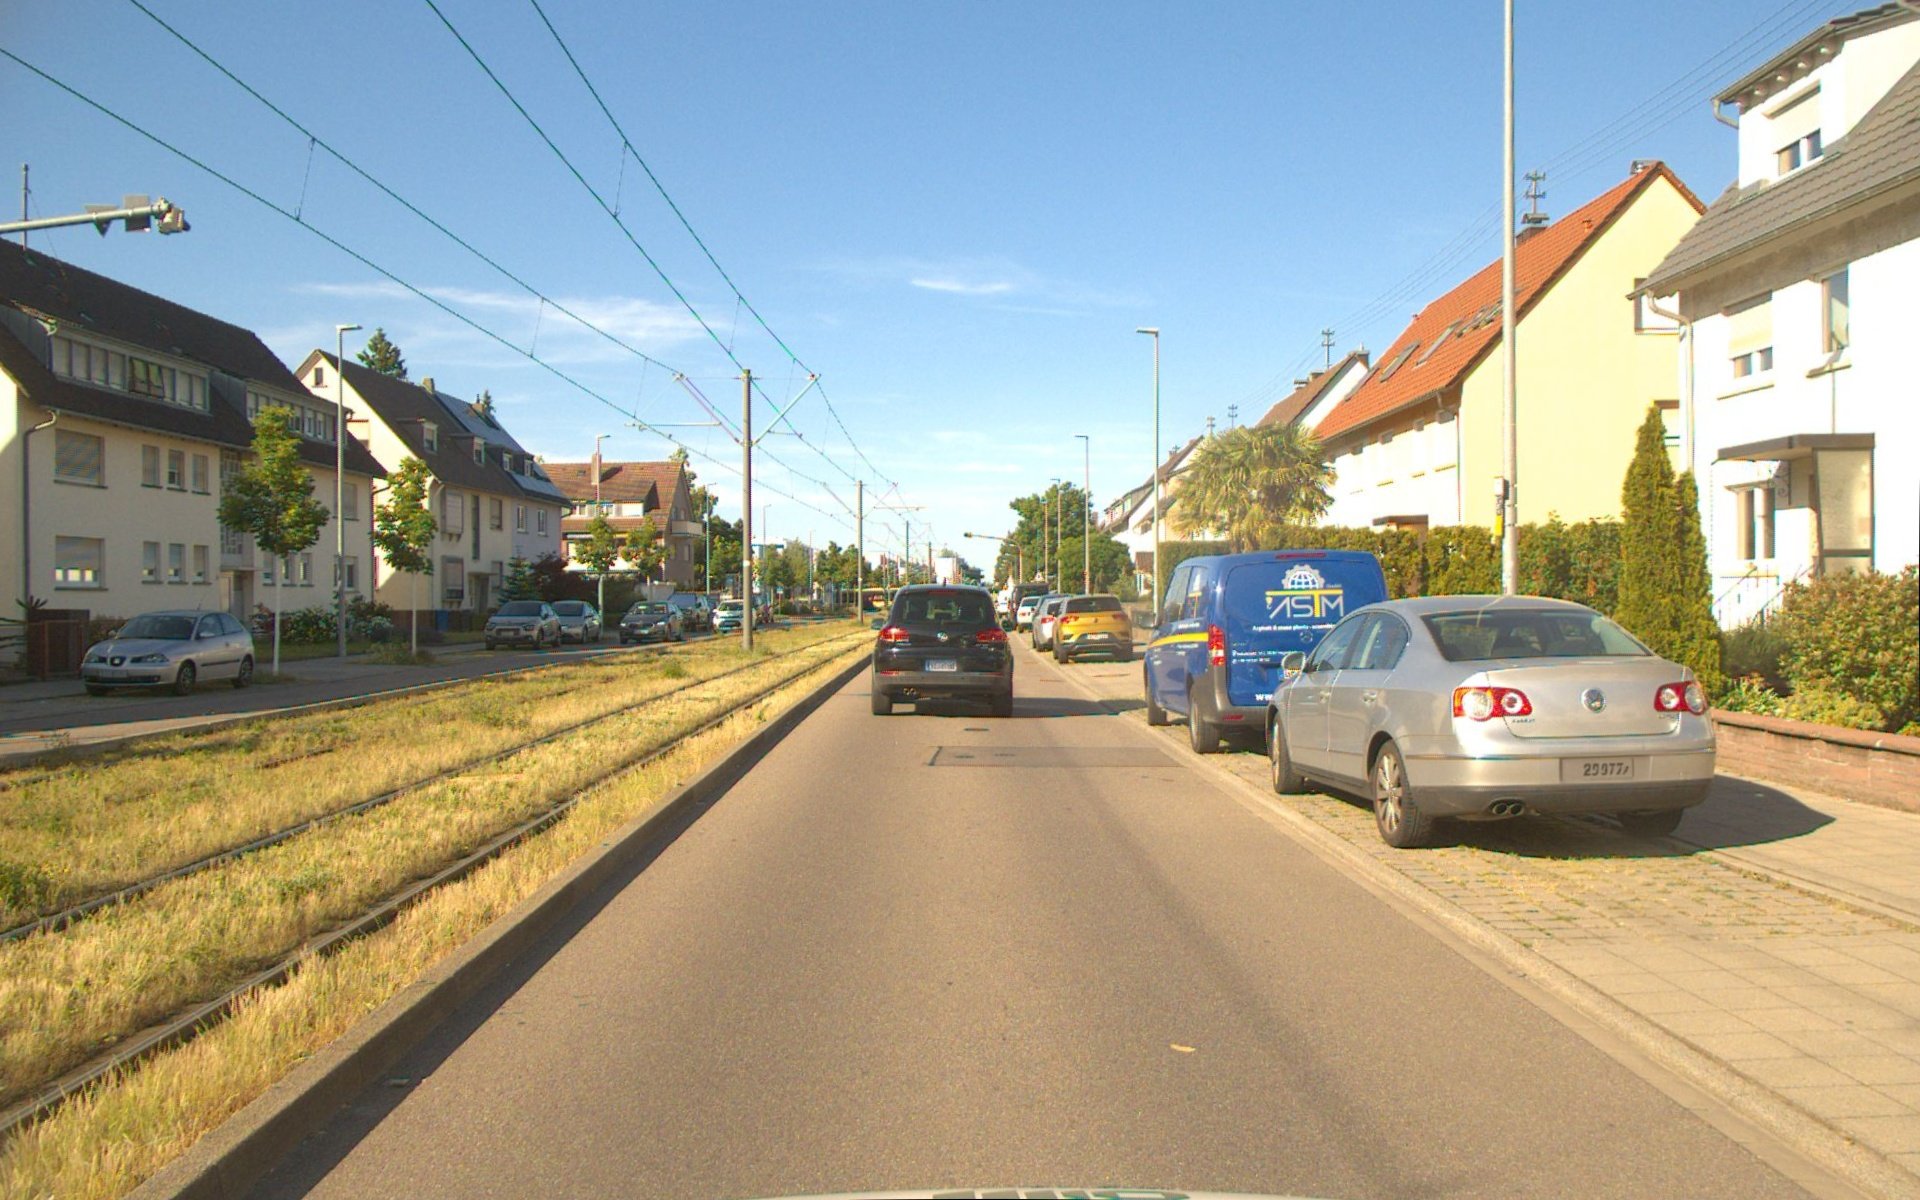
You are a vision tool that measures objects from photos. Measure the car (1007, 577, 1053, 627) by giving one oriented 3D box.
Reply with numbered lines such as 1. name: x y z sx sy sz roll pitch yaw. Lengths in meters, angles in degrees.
1. car: 3.196 0.107 76.836 1.919 2.181 5.336 -2 0 1

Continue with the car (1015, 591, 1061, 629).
1. car: 3.281 0.397 70.057 1.814 1.469 5.615 -2 0 2

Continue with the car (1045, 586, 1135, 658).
1. car: 3.080 0.505 39.974 1.768 1.586 4.926 -2 0 0

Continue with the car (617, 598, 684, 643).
1. car: -10.905 0.704 58.467 1.654 1.501 4.082 1 0 -1

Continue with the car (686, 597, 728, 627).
1. car: -13.256 0.626 86.748 1.642 1.517 4.049 1 0 -1

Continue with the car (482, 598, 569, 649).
1. car: -13.734 0.722 52.496 1.654 1.498 4.314 1 0 -1

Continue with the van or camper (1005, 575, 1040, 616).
1. van or camper: 3.706 -0.274 99.255 1.952 2.310 6.305 -2 0 1

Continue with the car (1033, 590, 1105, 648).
1. car: 3.073 0.511 47.436 1.712 1.472 4.699 -1 1 0

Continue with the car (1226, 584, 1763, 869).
1. car: 3.291 0.662 11.471 1.696 1.484 5.281 -1 0 -4

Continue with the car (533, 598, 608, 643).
1. car: -13.712 0.715 58.493 1.654 1.501 4.442 1 0 -1

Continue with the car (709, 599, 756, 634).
1. car: -10.327 0.736 75.223 1.654 1.501 3.679 1 0 -1

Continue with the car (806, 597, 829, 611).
1. car: -16.015 0.492 185.851 1.772 1.486 4.320 1 0 5

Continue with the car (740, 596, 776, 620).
1. car: -12.875 0.495 105.700 1.660 1.429 4.079 -1 0 2

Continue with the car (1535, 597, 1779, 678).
1. car: 12.946 0.681 30.872 3.806 1.446 1.812 0 0 -4

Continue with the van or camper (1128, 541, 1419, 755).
1. van or camper: 3.112 0.436 17.713 1.909 1.879 5.581 -2 0 -1

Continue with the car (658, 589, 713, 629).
1. car: -13.365 0.429 80.769 1.709 1.855 4.842 1 0 1

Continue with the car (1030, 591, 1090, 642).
1. car: 3.157 0.489 53.157 1.740 1.525 4.729 -1 0 1

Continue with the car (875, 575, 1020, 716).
1. car: -0.179 0.566 22.219 1.739 1.699 3.999 1 0 -1

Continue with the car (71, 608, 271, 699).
1. car: -13.810 0.884 29.208 1.624 1.461 4.102 0 0 -1

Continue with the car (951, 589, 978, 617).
1. car: 0.299 0.198 112.269 1.595 1.860 4.128 -1 0 -3

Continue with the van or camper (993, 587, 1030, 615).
1. van or camper: 3.745 0.064 119.761 1.984 1.990 5.299 -1 0 9
